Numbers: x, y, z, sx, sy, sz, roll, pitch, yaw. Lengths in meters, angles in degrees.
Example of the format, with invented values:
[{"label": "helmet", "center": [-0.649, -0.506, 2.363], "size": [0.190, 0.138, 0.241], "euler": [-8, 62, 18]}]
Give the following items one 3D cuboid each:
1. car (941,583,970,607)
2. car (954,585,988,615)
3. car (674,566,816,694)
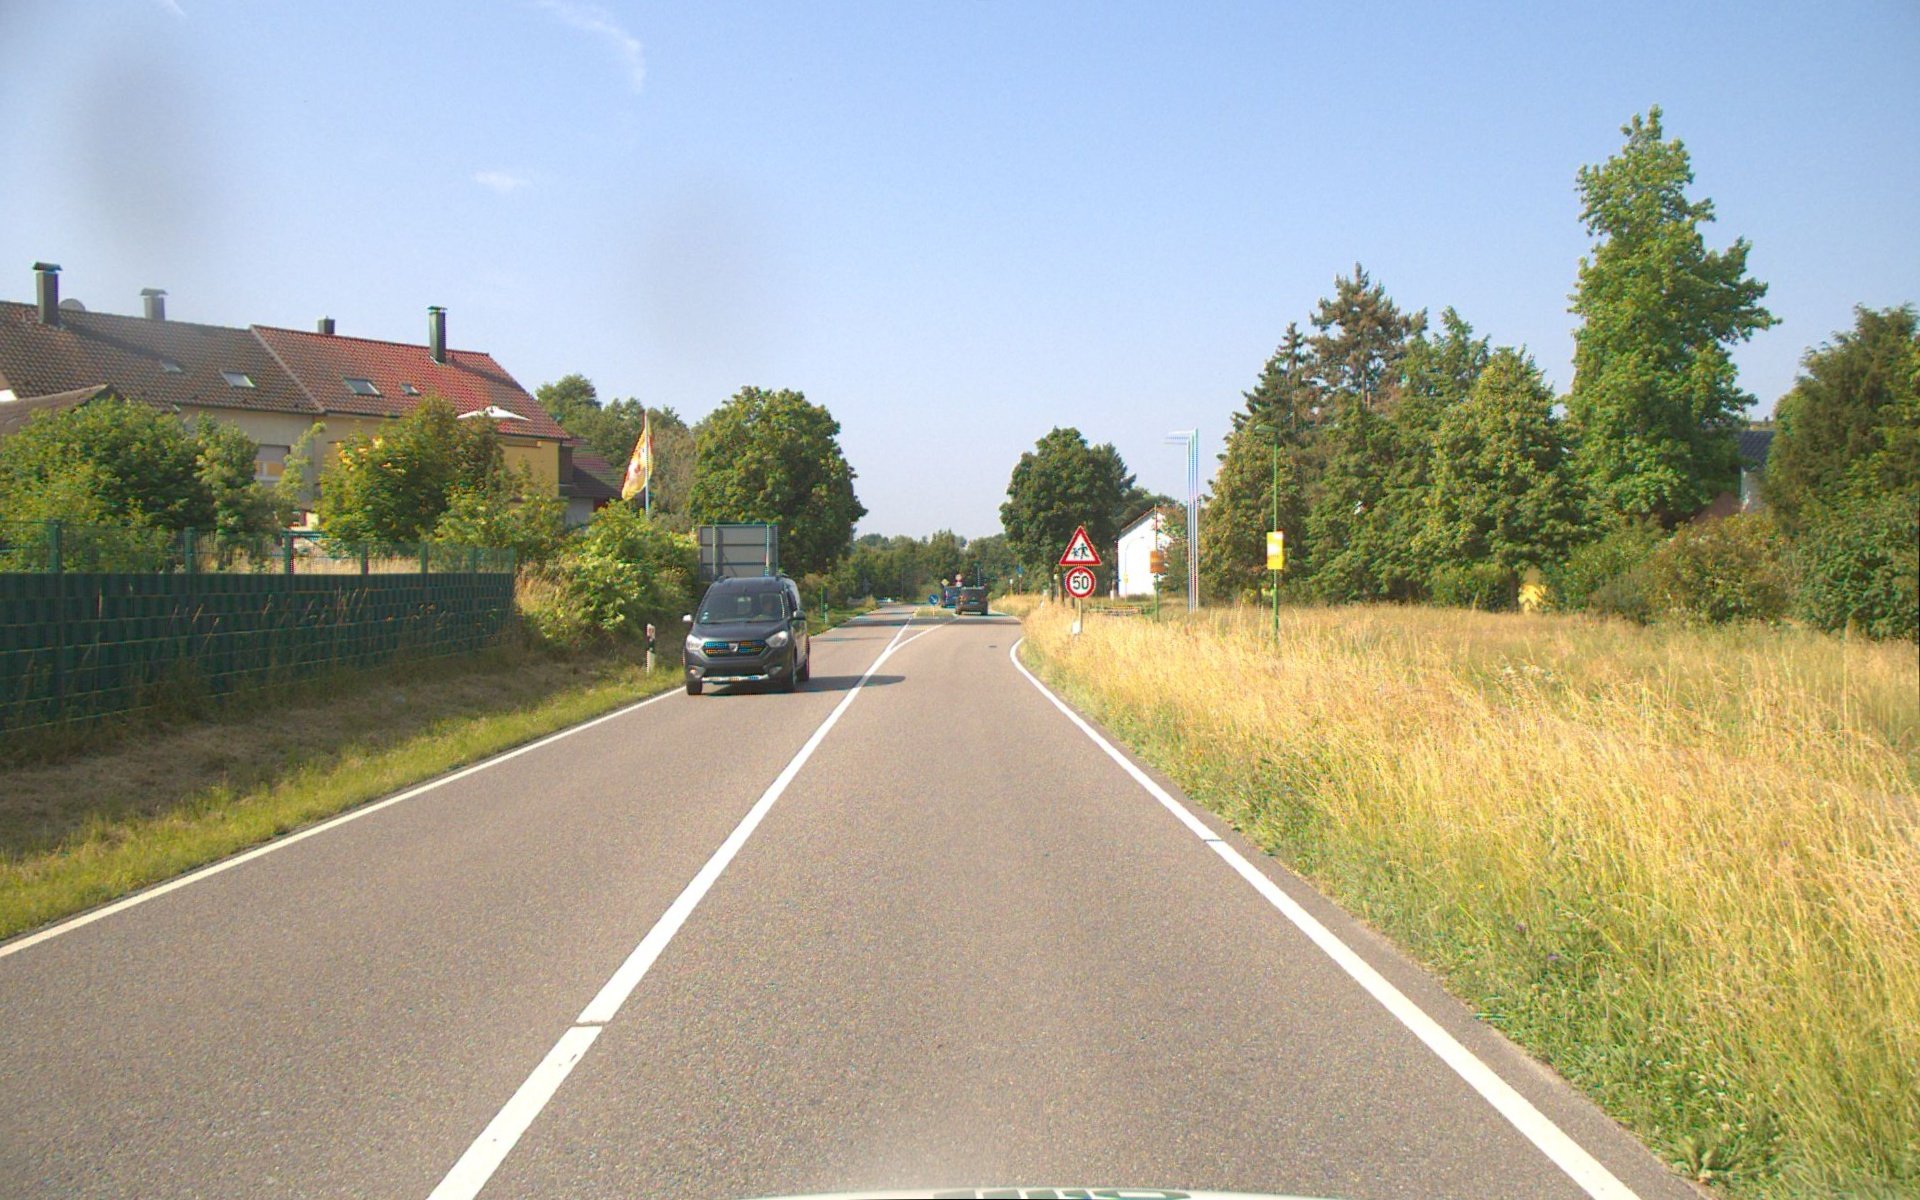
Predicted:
[{"label": "car", "center": [-0.396, -0.385, 128.328], "size": [1.965, 1.802, 3.996], "euler": [0, 1, -5]}, {"label": "car", "center": [0.679, -0.002, 103.535], "size": [1.887, 1.802, 3.998], "euler": [0, 1, -3]}, {"label": "car", "center": [-3.405, 0.437, 26.928], "size": [1.901, 1.849, 4.239], "euler": [-2, 0, -3]}]
